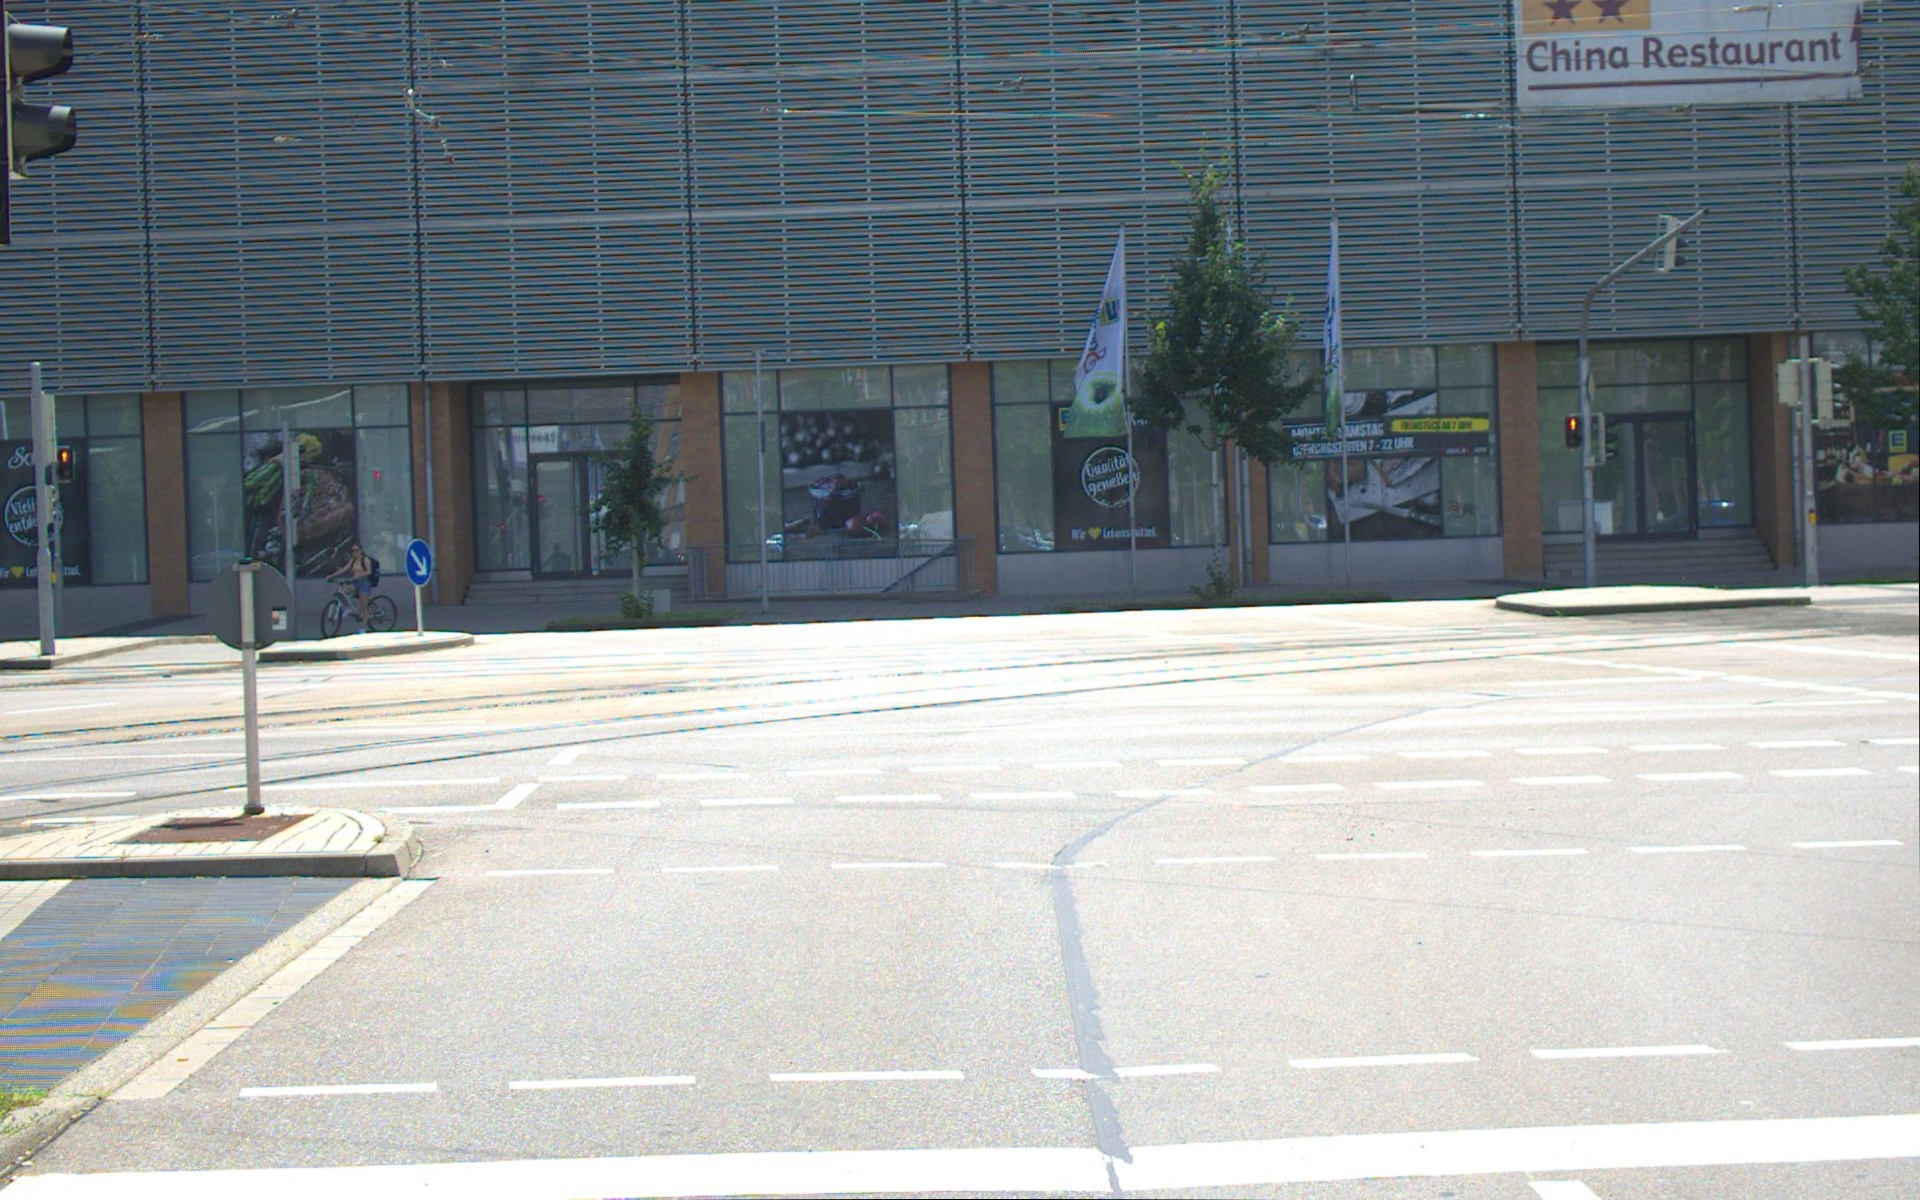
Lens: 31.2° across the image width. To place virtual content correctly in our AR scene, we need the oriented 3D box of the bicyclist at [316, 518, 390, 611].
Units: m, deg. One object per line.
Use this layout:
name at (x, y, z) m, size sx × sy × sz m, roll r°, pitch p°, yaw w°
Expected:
bicyclist at (-10.393, -0.608, 58.844) m, size 1.040 × 1.566 × 0.777 m, roll -1°, pitch 2°, yaw 7°

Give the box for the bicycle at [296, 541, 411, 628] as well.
bicycle at (-10.376, -0.279, 58.946) m, size 1.062 × 1.385 × 3.023 m, roll -1°, pitch 2°, yaw 8°
